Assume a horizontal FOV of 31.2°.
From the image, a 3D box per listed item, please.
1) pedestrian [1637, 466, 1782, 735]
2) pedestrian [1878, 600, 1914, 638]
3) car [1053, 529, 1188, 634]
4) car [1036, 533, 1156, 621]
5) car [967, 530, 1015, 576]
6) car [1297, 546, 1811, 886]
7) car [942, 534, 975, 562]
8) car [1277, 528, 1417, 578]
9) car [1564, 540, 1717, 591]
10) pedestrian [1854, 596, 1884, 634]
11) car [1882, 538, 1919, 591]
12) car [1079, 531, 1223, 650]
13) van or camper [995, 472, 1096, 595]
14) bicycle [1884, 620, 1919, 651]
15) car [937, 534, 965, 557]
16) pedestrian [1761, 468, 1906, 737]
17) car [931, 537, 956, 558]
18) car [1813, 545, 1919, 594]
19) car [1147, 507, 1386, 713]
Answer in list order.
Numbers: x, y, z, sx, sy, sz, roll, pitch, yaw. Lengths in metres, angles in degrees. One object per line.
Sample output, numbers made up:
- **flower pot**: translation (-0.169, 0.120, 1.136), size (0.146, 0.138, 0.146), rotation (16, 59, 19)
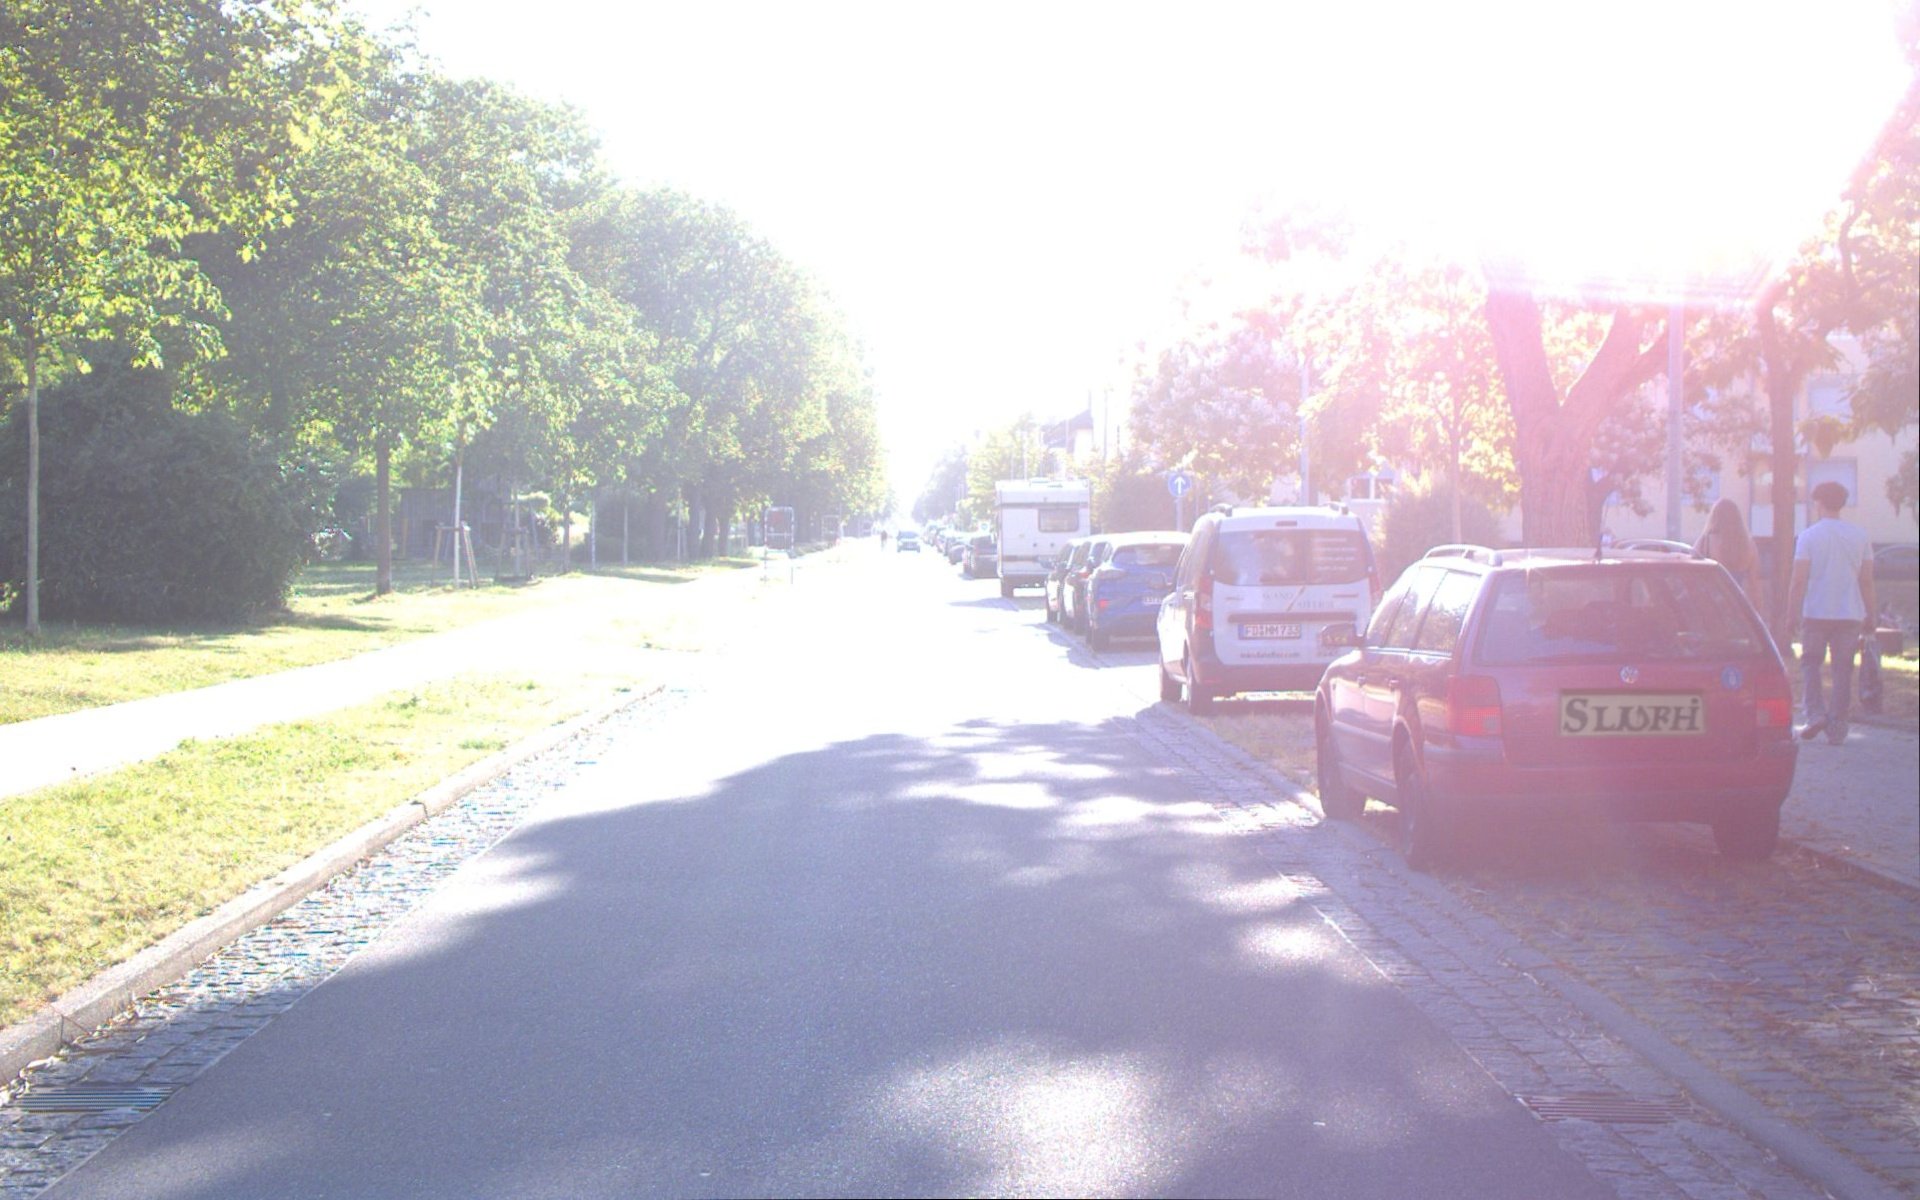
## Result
- **pedestrian**: translation (4.933, -0.007, 22.657), size (0.753, 1.730, 0.732), rotation (1, 1, 0)
- **pedestrian**: translation (20.927, 0.422, 76.868), size (0.611, 0.810, 0.724), rotation (1, 1, 1)
- **car**: translation (2.428, -0.301, 52.885), size (1.731, 1.545, 4.423), rotation (0, 1, -2)
- **car**: translation (2.317, -0.416, 59.468), size (1.626, 1.459, 4.250), rotation (0, 1, -4)
- **car**: translation (1.123, -1.704, 125.467), size (1.626, 1.663, 4.250), rotation (0, 1, -1)
- **car**: translation (2.825, 0.475, 17.395), size (1.678, 1.481, 4.810), rotation (0, 1, -1)
- **car**: translation (-0.085, -2.705, 179.058), size (1.626, 1.405, 4.250), rotation (0, 1, -1)
- **car**: translation (11.921, -1.464, 106.099), size (4.195, 1.525, 2.000), rotation (0, 1, 4)
- **car**: translation (19.533, -0.990, 98.686), size (4.198, 1.458, 1.692), rotation (0, 1, 15)
- **pedestrian**: translation (20.027, 0.323, 75.741), size (0.472, 0.810, 0.612), rotation (1, 1, 1)
- **car**: translation (29.753, -1.051, 102.087), size (4.515, 1.564, 1.879), rotation (0, 1, 18)
- **car**: translation (2.551, -0.154, 46.634), size (1.732, 1.545, 4.276), rotation (0, 1, 0)
- **van or camper**: translation (2.051, -1.582, 84.181), size (2.234, 2.894, 5.673), rotation (0, 0, -1)
- **bicycle**: translation (20.784, 0.765, 73.434), size (1.768, 0.613, 1.810), rotation (1, 1, 24)
- **car**: translation (-0.571, -3.307, 209.514), size (1.626, 1.405, 4.250), rotation (0, 1, -1)
- **pedestrian**: translation (5.753, 0.007, 22.683), size (0.725, 1.730, 0.732), rotation (1, 1, 0)
- **car**: translation (-1.094, -3.472, 226.910), size (1.626, 1.405, 4.250), rotation (0, 1, -1)
- **car**: translation (26.260, -0.866, 96.819), size (4.199, 1.353, 1.691), rotation (0, 1, 20)
- **car**: translation (2.704, 0.057, 31.214), size (1.678, 1.734, 4.514), rotation (0, 1, -1)
